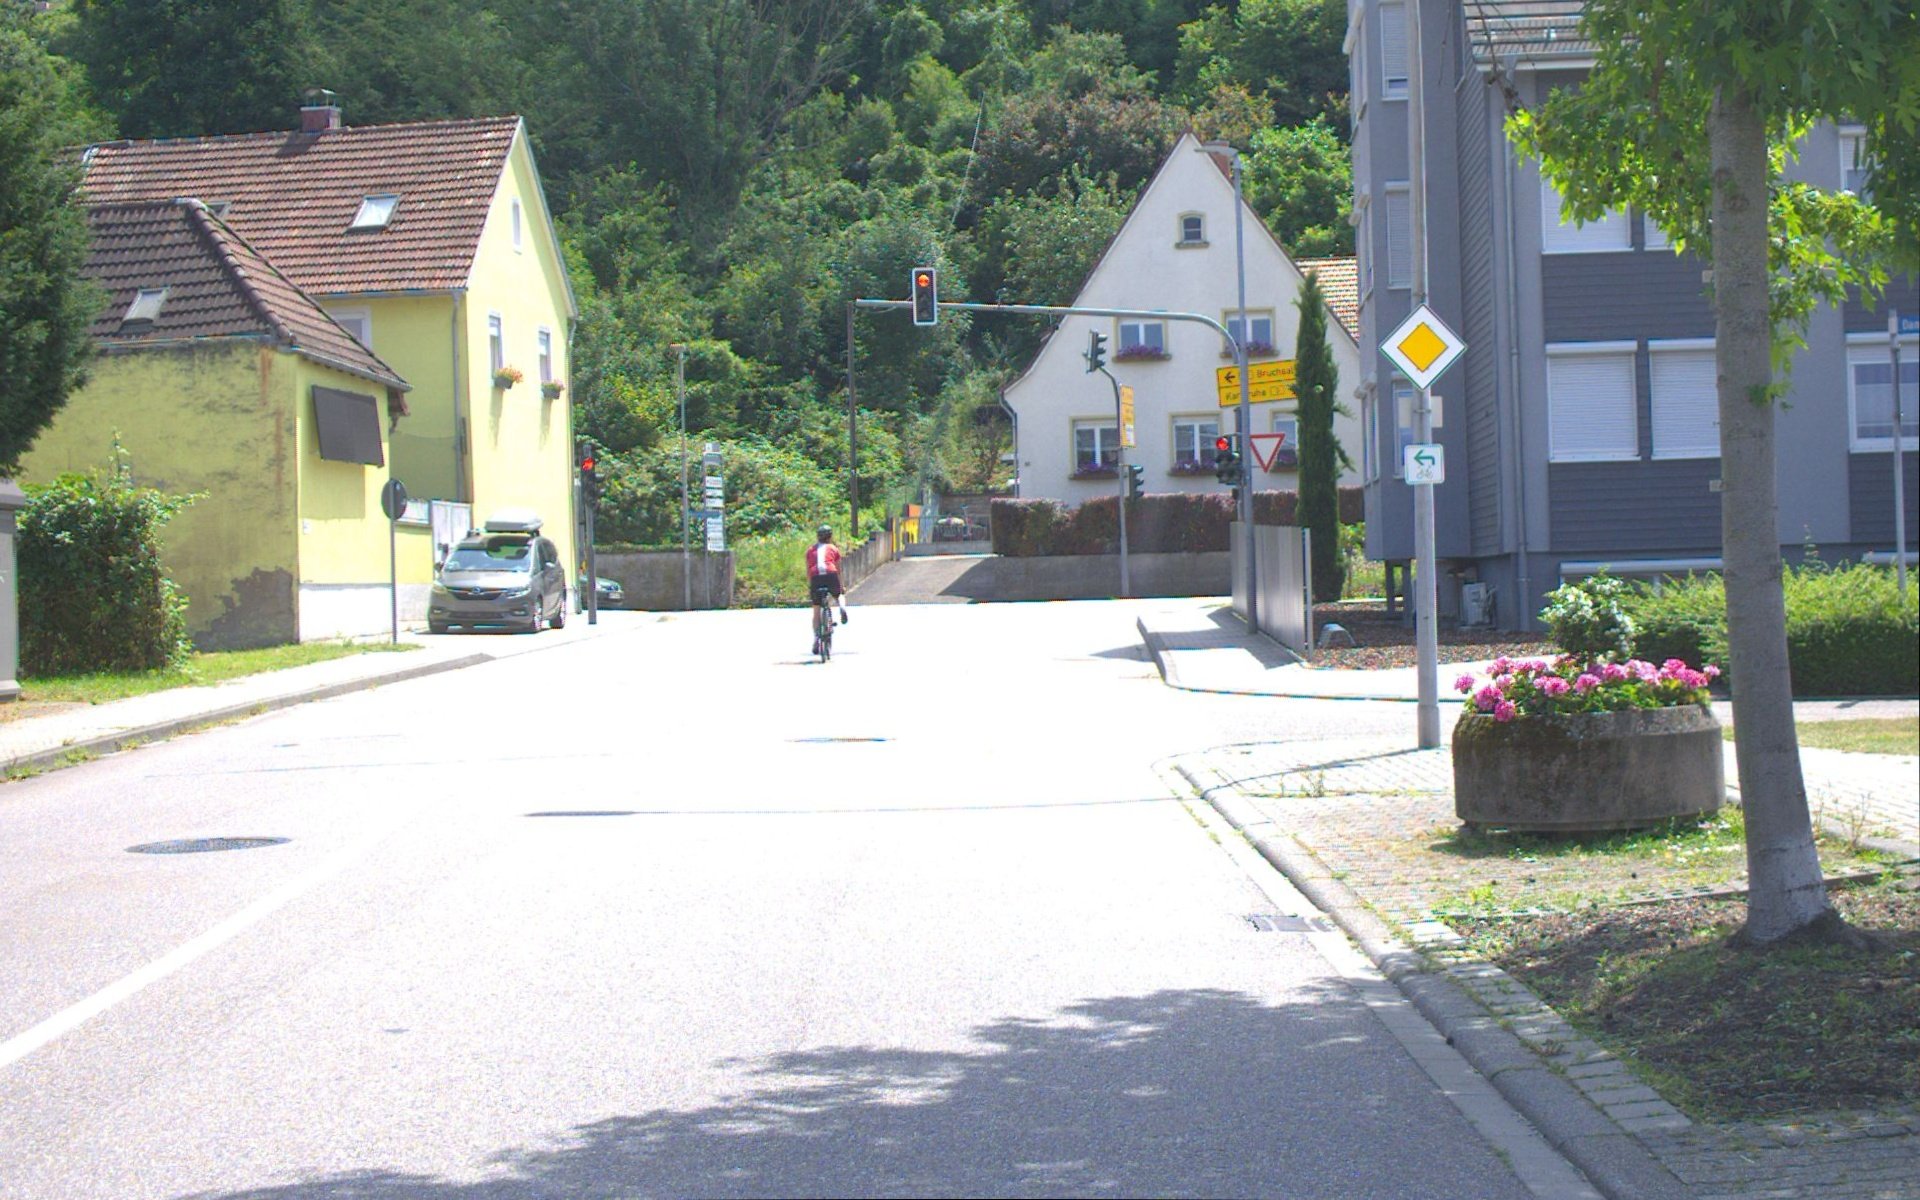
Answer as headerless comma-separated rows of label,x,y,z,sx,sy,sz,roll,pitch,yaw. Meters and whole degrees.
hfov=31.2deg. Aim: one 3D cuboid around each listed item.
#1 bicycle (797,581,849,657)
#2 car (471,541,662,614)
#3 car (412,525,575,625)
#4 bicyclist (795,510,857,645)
bicycle,-1.703,0.224,42.978,0.630,0.902,1.657,0,1,-2
car,-8.867,-0.506,77.663,3.861,1.428,1.785,-3,1,12
car,-7.923,-0.461,58.789,1.993,1.630,4.630,0,1,2
bicyclist,-1.675,-0.288,42.947,0.760,1.659,0.869,0,1,-2
